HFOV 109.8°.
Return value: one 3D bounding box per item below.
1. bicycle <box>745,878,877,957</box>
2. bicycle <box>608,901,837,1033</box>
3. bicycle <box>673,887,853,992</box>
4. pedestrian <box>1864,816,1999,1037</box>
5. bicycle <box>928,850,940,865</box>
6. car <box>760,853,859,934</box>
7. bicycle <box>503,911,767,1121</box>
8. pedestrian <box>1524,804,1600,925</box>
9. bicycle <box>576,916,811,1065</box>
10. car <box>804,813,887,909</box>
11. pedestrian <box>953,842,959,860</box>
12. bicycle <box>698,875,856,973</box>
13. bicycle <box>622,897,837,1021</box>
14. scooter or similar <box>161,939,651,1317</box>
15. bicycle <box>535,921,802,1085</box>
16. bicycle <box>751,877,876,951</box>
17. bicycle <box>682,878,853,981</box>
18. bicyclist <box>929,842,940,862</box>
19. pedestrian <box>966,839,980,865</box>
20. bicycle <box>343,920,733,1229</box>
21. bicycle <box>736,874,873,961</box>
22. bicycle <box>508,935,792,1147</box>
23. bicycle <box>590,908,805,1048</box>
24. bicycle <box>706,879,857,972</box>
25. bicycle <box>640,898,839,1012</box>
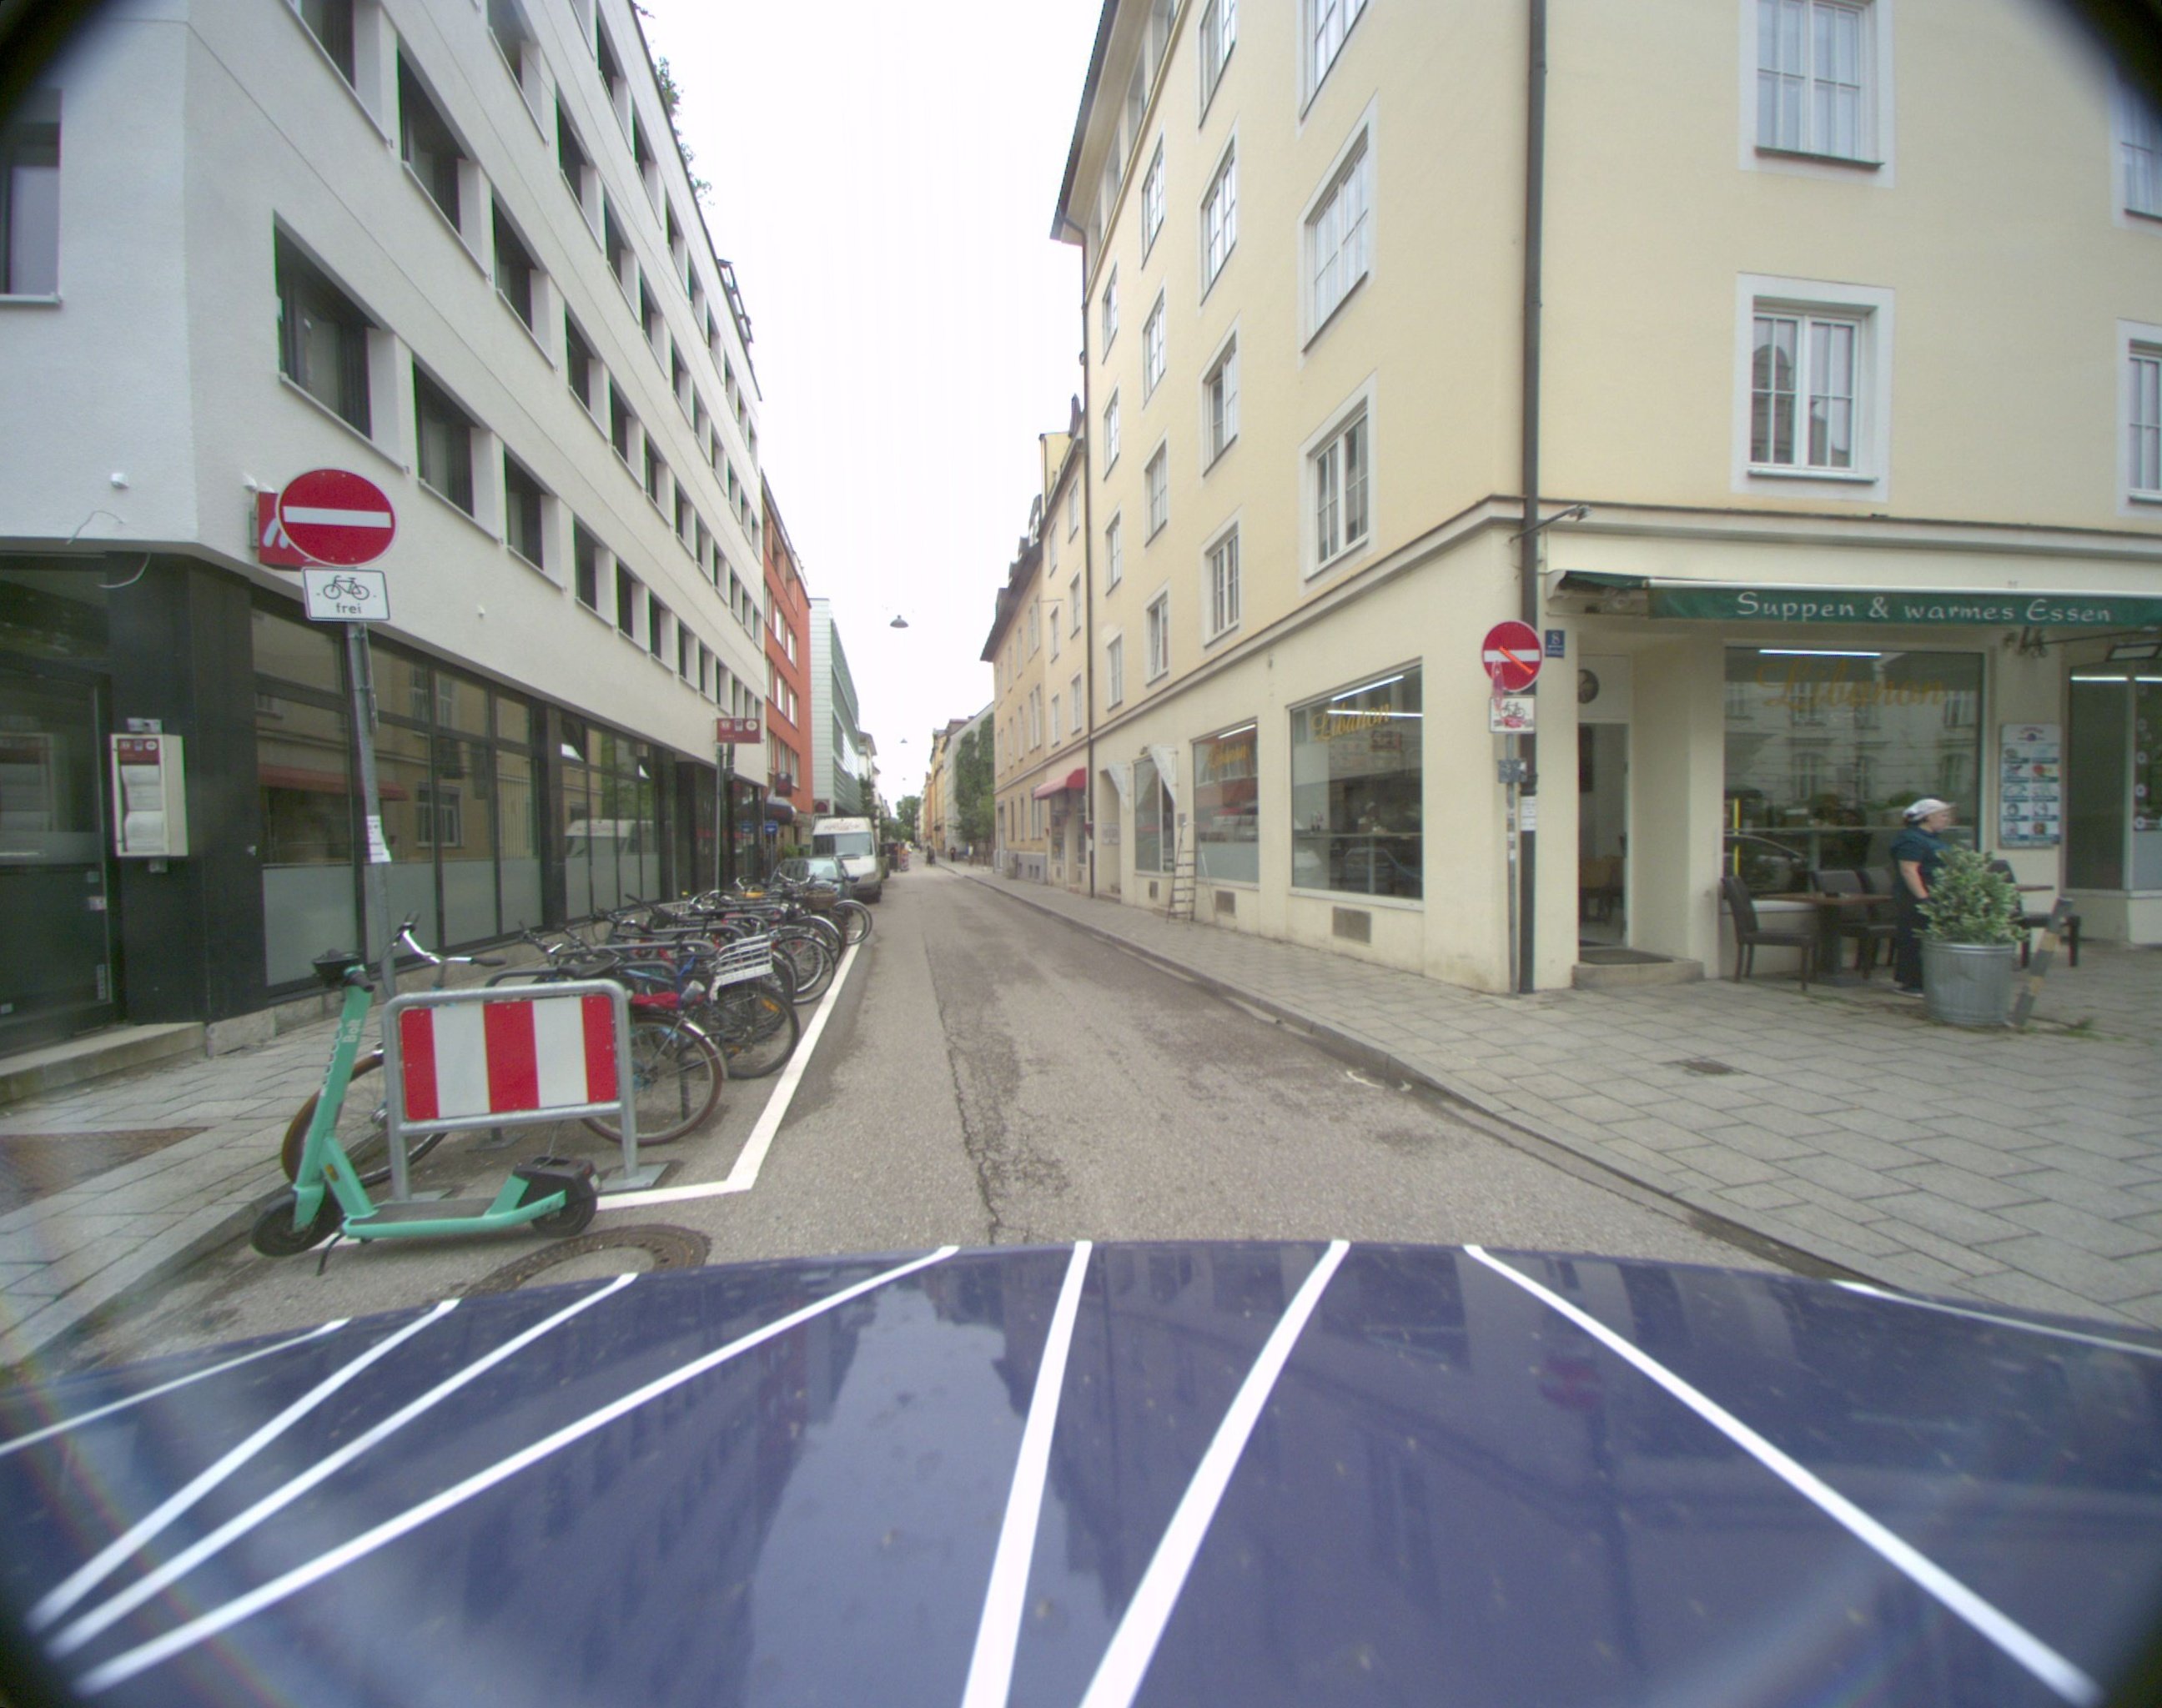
[{"bbox_3d":[-4.219,0.978,12.005,1.880,1.102,0.488,-3,1,-15],"label":"bicycle"},{"bbox_3d":[-3.304,1.028,7.149,1.881,1.073,0.408,-1,0,-16],"label":"bicycle"},{"bbox_3d":[-3.689,0.976,8.945,1.881,1.089,0.439,-1,0,-16],"label":"bicycle"},{"bbox_3d":[6.661,0.526,5.963,0.606,1.633,0.537,-2,2,-25],"label":"pedestrian"},{"bbox_3d":[-12.701,0.283,65.674,0.935,1.250,2.410,0,2,-13],"label":"bicycle"},{"bbox_3d":[-5.693,0.739,16.261,1.586,1.456,3.547,-1,1,-14],"label":"car"},{"bbox_3d":[-2.950,1.044,5.158,1.457,1.201,0.394,-2,2,-20],"label":"bicycle"},{"bbox_3d":[7.077,0.137,11.215,0.757,1.715,0.770,1,2,20],"label":"pedestrian"},{"bbox_3d":[-3.170,1.102,6.336,1.681,1.073,0.335,-1,0,-16],"label":"bicycle"},{"bbox_3d":[-7.005,0.138,23.143,1.927,2.492,5.989,-2,1,-14],"label":"car"},{"bbox_3d":[-11.977,-0.295,72.775,0.554,1.650,0.996,-1,2,-13],"label":"pedestrian"},{"bbox_3d":[-3.974,0.895,10.078,1.881,1.197,0.579,0,1,-15],"label":"bicycle"},{"bbox_3d":[-3.437,1.012,7.568,1.881,1.073,0.402,-1,0,-16],"label":"bicycle"},{"bbox_3d":[-2.503,0.983,2.946,1.357,1.203,0.417,-1,2,-11],"label":"scooter or similar"},{"bbox_3d":[-3.134,1.111,5.921,1.747,1.073,0.451,-1,0,-16],"label":"bicycle"},{"bbox_3d":[-4.473,0.996,12.819,1.880,1.073,0.488,-3,1,-15],"label":"bicycle"},{"bbox_3d":[-3.846,0.908,9.464,1.900,1.163,0.565,-1,1,-15],"label":"bicycle"},{"bbox_3d":[-12.624,-0.213,65.347,0.930,1.711,1.098,0,1,-13],"label":"bicyclist"},{"bbox_3d":[-7.820,-0.120,55.105,0.862,1.834,0.973,-2,2,-11],"label":"pedestrian"},{"bbox_3d":[-2.578,1.016,3.746,1.462,1.278,0.445,-2,2,-11],"label":"bicycle"},{"bbox_3d":[-4.132,0.932,11.491,1.881,1.197,0.488,-1,0,-15],"label":"bicycle"},{"bbox_3d":[-2.616,1.111,4.772,1.457,1.063,0.462,-2,2,-20],"label":"bicycle"},{"bbox_3d":[-3.323,1.057,6.695,1.619,1.073,0.377,-1,0,-16],"label":"bicycle"},{"bbox_3d":[-4.201,0.984,10.778,1.880,1.150,0.564,-3,1,-15],"label":"bicycle"},{"bbox_3d":[-3.628,1.057,8.241,1.881,1.046,0.563,-1,3,-16],"label":"bicycle"}]
